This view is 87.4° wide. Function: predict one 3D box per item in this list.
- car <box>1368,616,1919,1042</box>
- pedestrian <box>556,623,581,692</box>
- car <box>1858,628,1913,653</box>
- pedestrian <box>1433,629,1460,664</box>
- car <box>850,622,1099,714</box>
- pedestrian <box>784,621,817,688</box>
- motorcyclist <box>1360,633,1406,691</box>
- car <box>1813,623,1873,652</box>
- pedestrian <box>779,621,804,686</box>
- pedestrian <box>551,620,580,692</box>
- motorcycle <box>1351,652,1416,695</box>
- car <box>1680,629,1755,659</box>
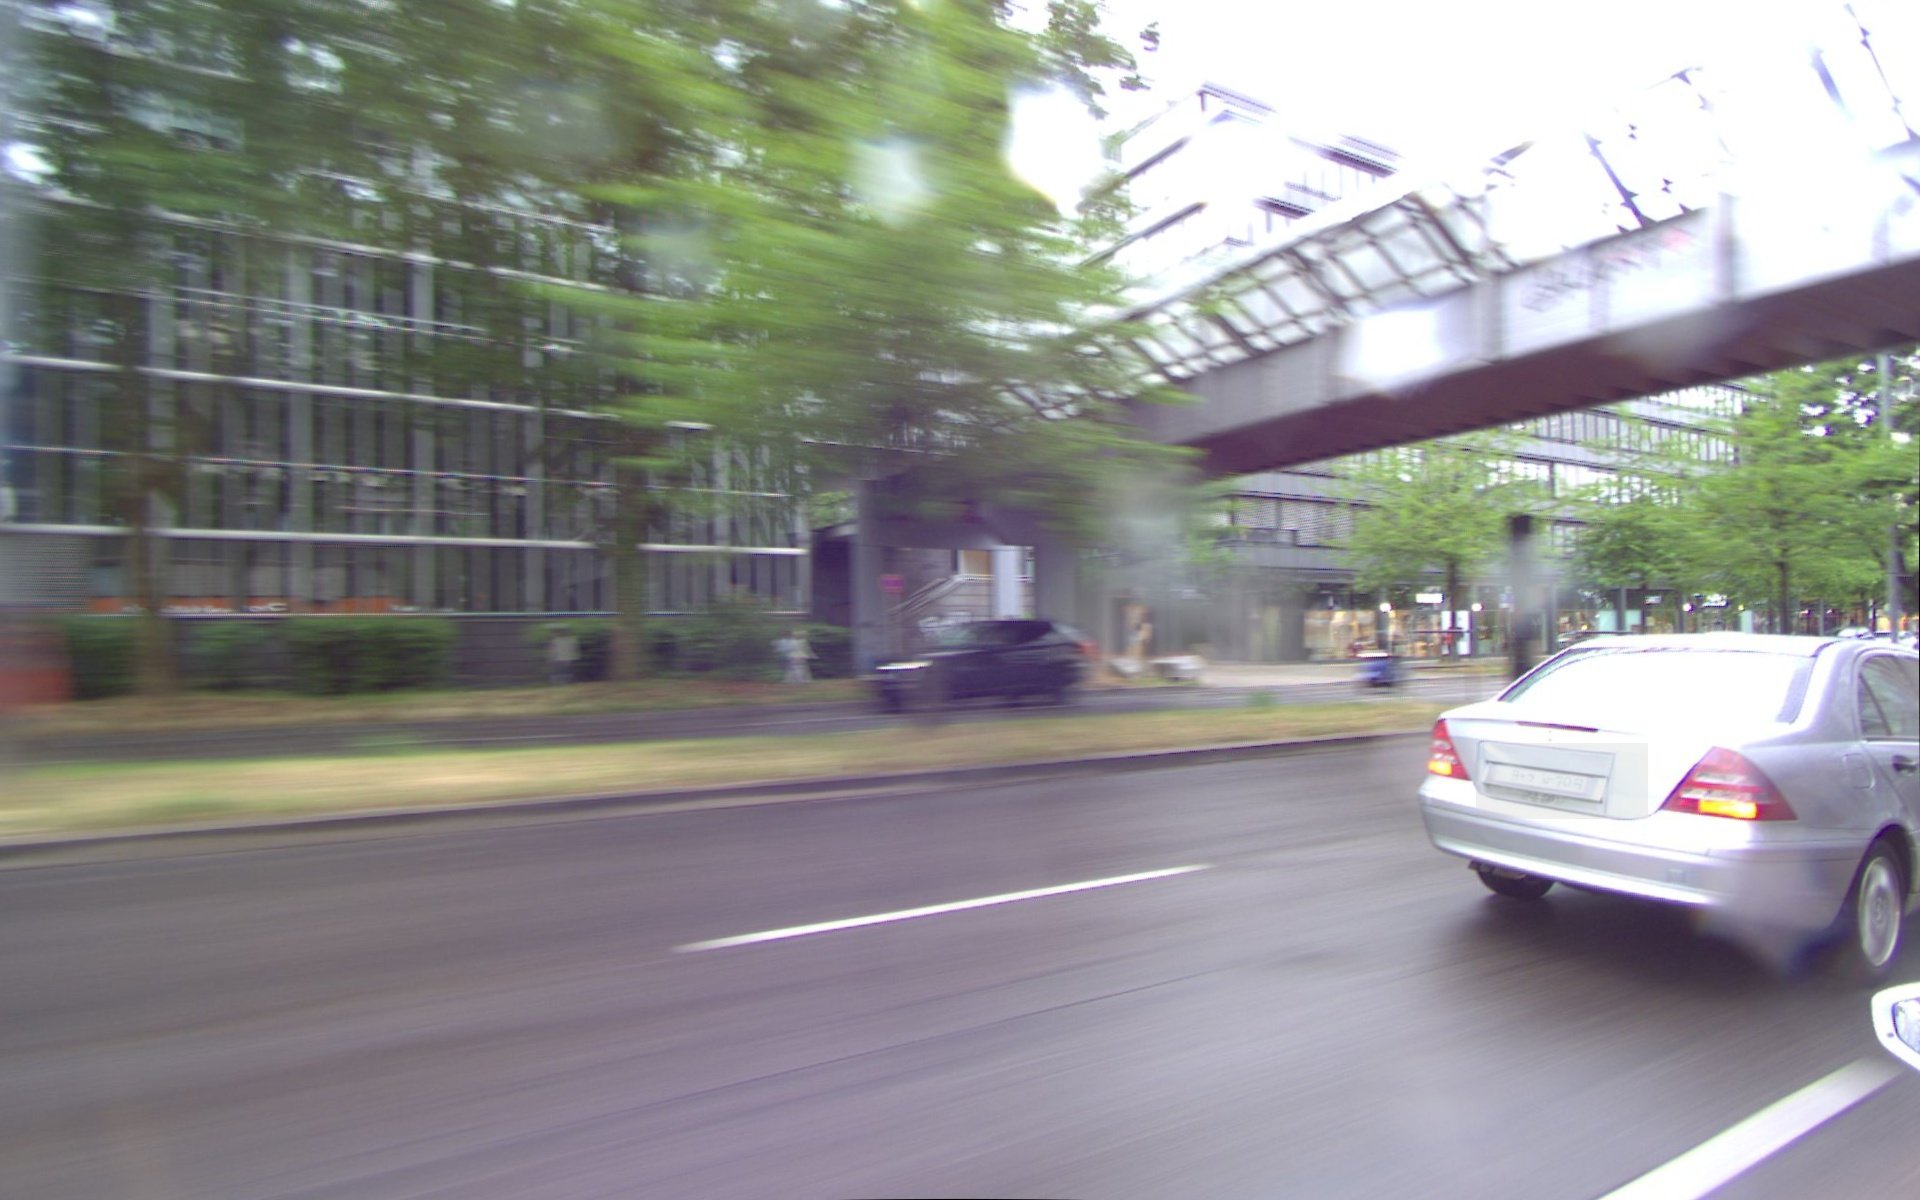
[{"bbox_3d":[4.293,0.868,5.364,4.310,1.498,1.664,2,-2,-31],"label":"car"},{"bbox_3d":[-9.891,1.440,25.352,0.505,1.708,0.557,0,-1,-30],"label":"pedestrian"},{"bbox_3d":[57.490,2.463,62.390,3.919,1.480,1.614,1,-1,-33],"label":"car"},{"bbox_3d":[24.226,2.308,49.992,1.045,1.738,0.739,1,-2,-31],"label":"pedestrian"},{"bbox_3d":[0.368,1.445,21.699,5.129,1.790,1.990,1,-5,-33],"label":"car"},{"bbox_3d":[-4.422,1.509,27.888,0.751,1.831,0.593,0,-1,-30],"label":"pedestrian"},{"bbox_3d":[10.735,1.566,25.487,0.958,1.437,0.635,1,-3,-30],"label":"motorcyclist"},{"bbox_3d":[52.257,2.186,59.440,4.186,1.632,1.614,1,-1,-33],"label":"car"},{"bbox_3d":[-4.772,1.504,28.405,0.505,1.831,0.602,0,-1,-30],"label":"pedestrian"},{"bbox_3d":[-10.220,1.441,26.007,0.610,1.831,0.719,0,-1,-30],"label":"pedestrian"},{"bbox_3d":[10.747,1.853,25.472,1.784,1.035,0.581,1,-2,-31],"label":"motorcycle"},{"bbox_3d":[38.240,2.217,50.684,4.397,1.451,1.615,2,-3,-33],"label":"car"}]
